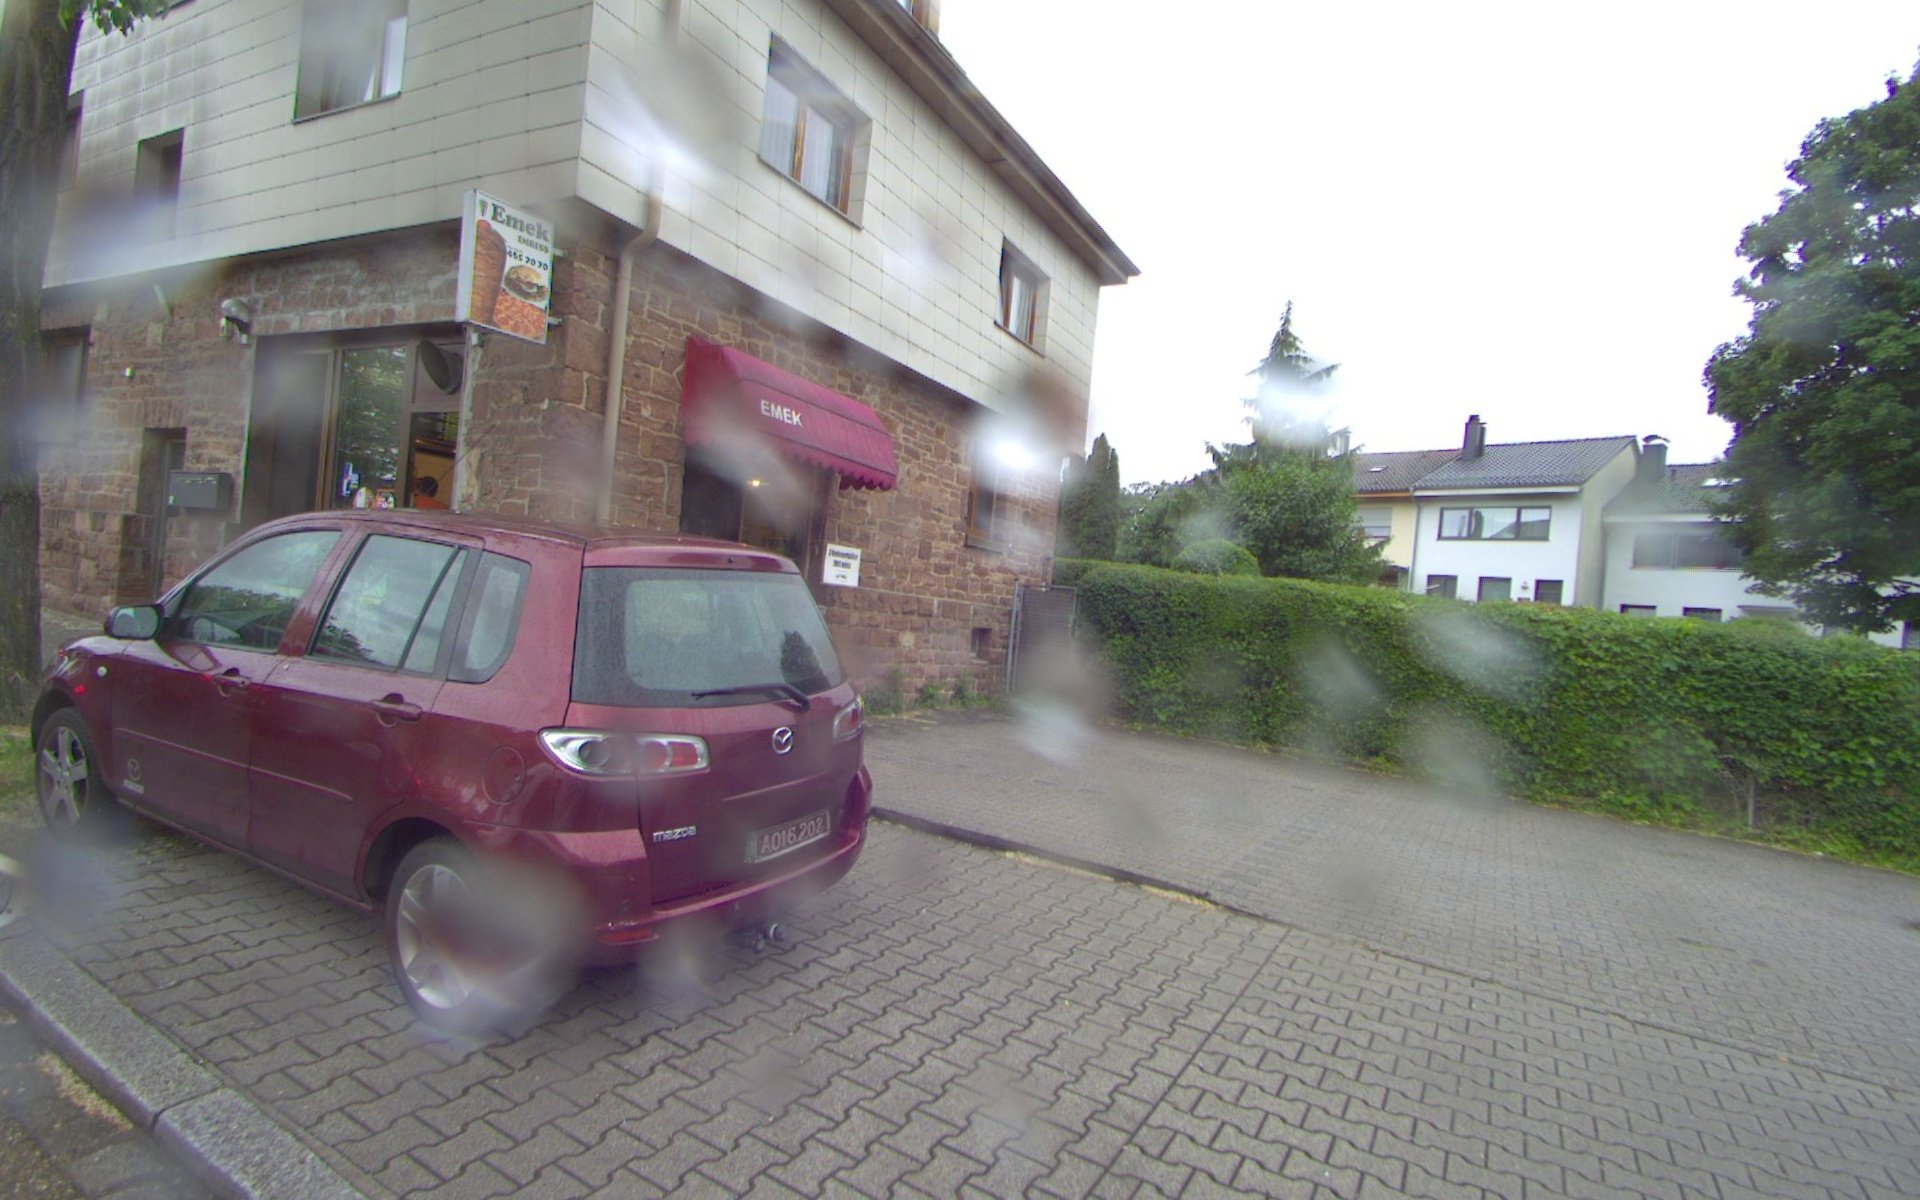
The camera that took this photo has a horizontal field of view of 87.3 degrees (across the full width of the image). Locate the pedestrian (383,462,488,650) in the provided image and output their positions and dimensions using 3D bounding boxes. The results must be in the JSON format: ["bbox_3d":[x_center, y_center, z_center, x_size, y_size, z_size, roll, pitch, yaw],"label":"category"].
[{"bbox_3d":[-5.463,-0.442,10.496,0.475,1.862,0.638,7,0,31],"label":"pedestrian"}]

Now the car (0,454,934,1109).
[{"bbox_3d":[-2.098,0.359,4.076,3.565,1.511,1.585,7,3,29],"label":"car"}]
